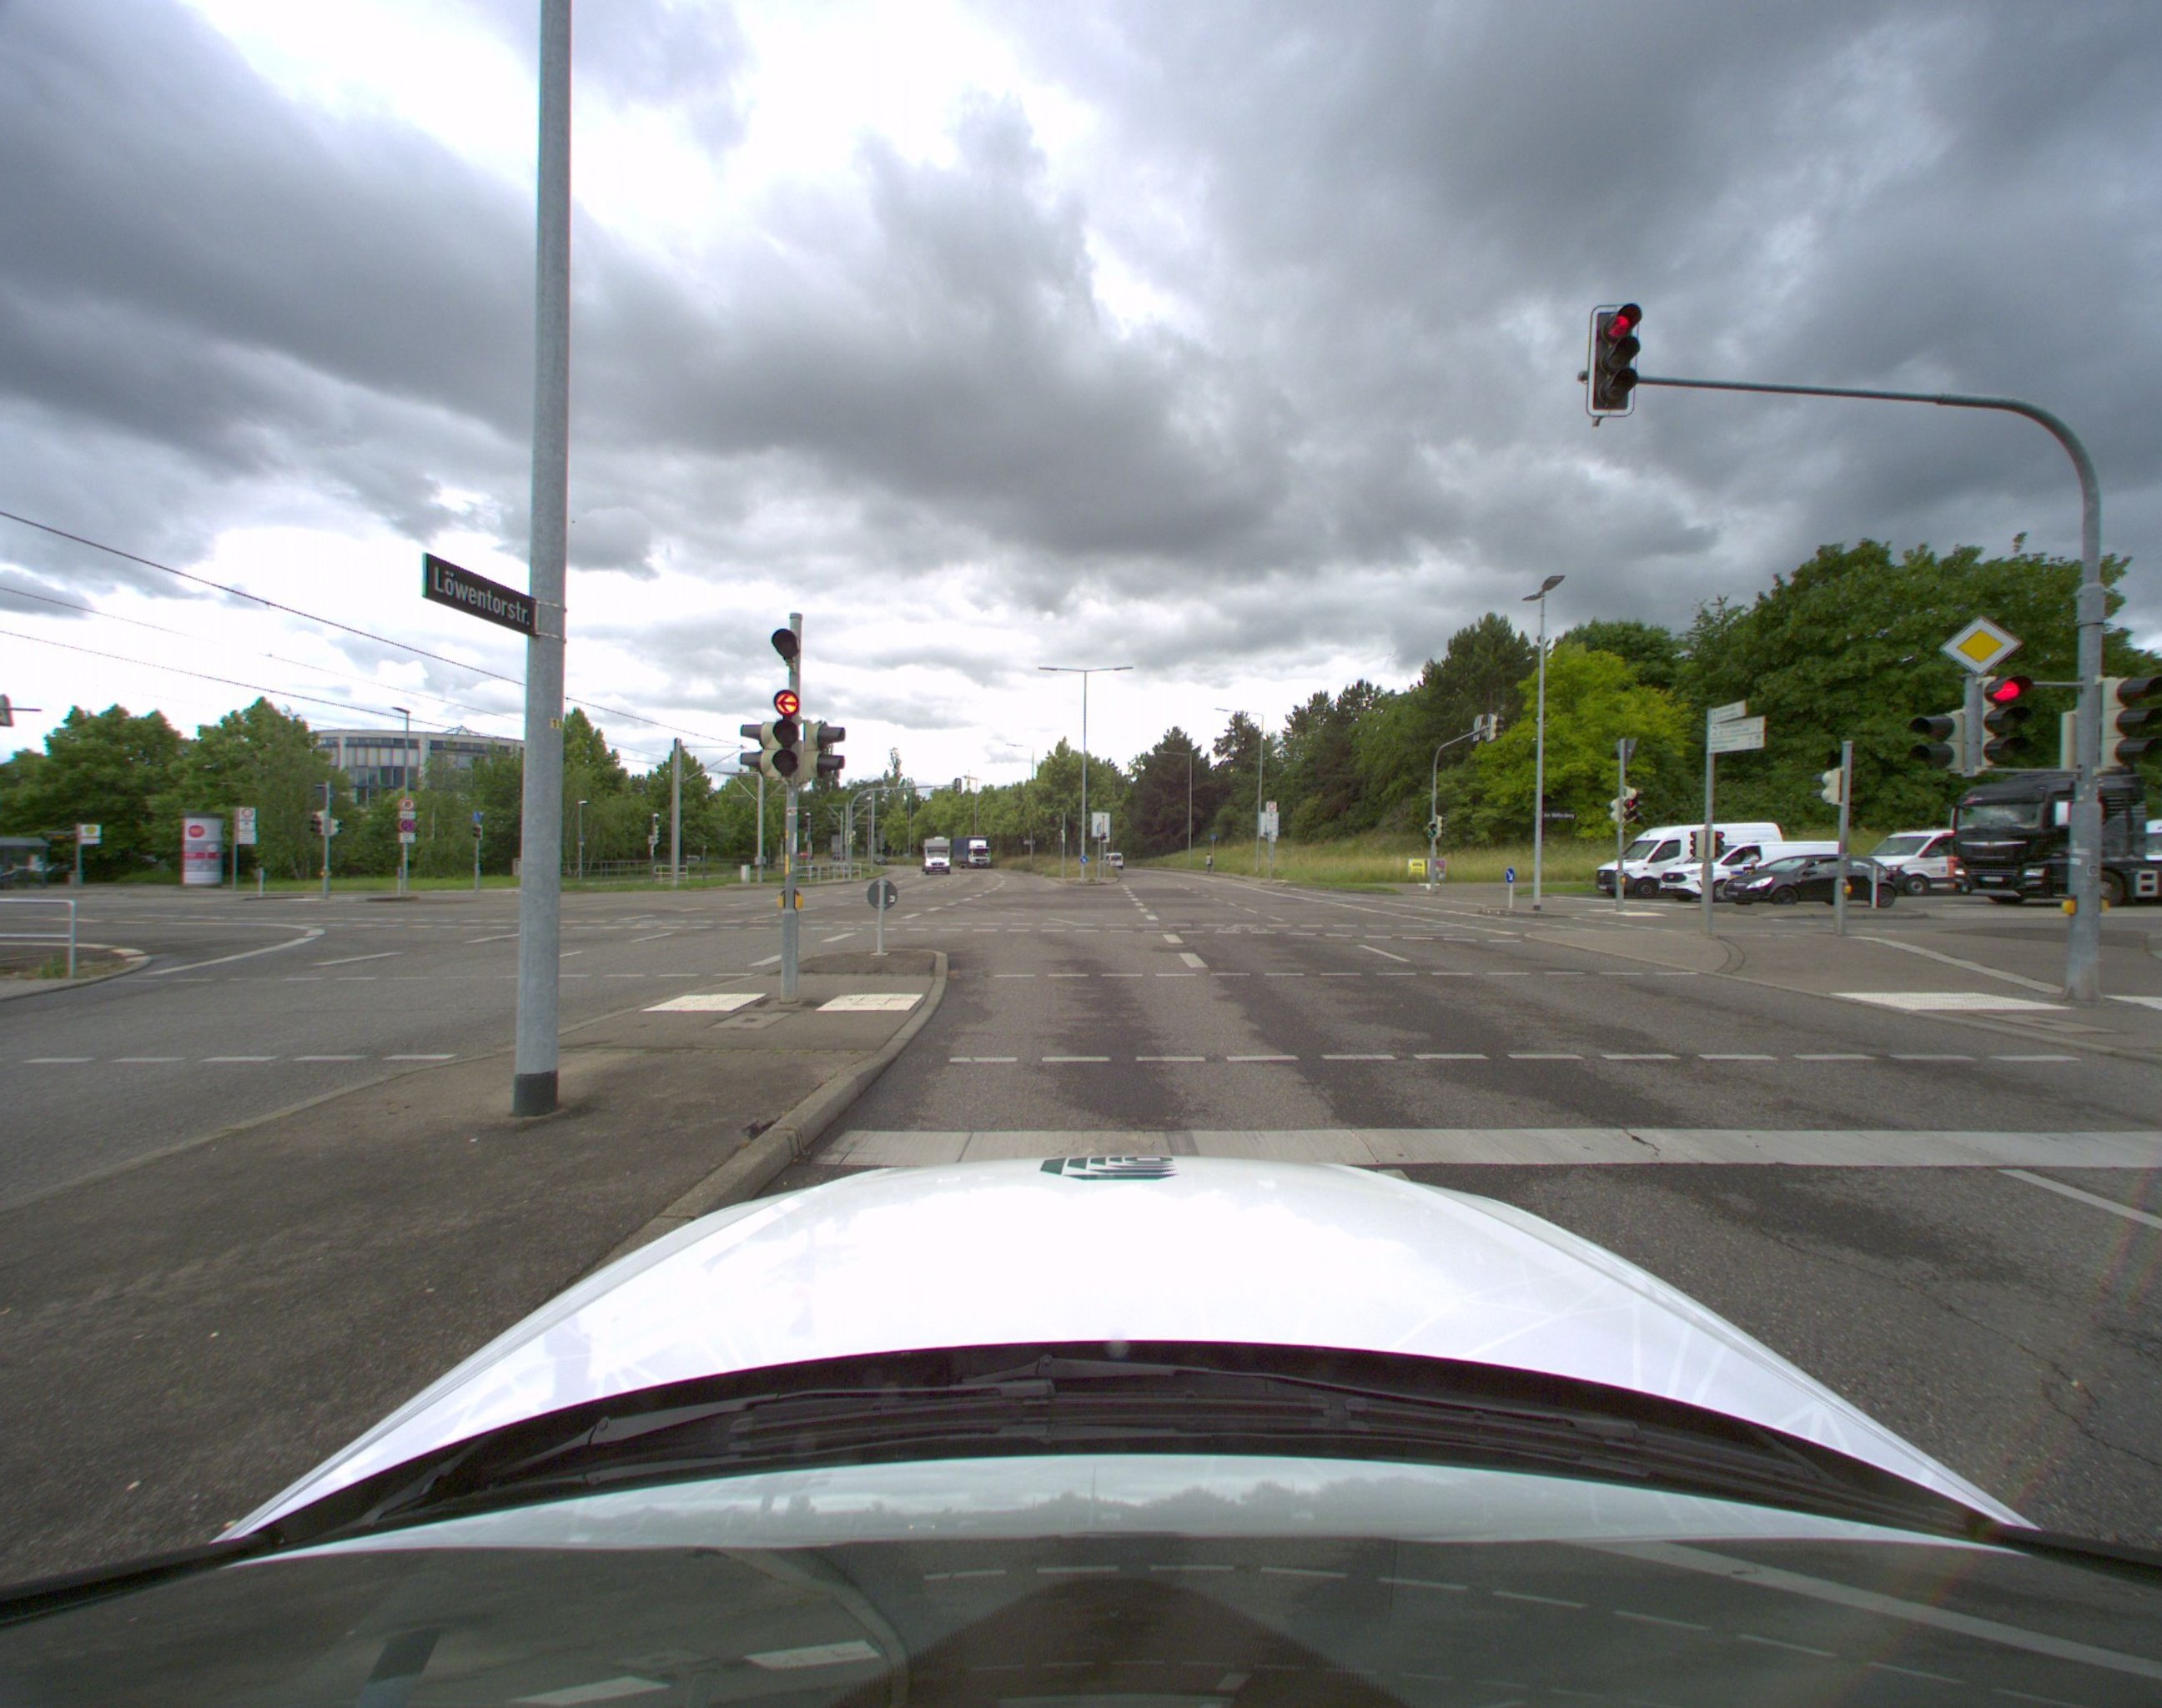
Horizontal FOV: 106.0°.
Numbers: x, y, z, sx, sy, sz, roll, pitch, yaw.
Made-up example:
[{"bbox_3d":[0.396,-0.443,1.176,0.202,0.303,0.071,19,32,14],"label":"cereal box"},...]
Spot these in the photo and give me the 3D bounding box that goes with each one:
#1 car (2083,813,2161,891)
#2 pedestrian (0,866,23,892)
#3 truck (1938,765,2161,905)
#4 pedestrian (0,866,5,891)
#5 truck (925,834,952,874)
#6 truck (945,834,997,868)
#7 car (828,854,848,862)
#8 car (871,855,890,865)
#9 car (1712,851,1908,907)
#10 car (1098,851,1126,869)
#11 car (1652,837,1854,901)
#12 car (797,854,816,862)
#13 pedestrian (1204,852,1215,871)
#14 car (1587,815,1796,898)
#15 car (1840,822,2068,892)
[{"bbox_3d":[39.727,-0.133,28.497,6.473,2.609,2.197,-1,0,2],"label":"car"},{"bbox_3d":[-56.561,1.312,42.967,0.774,1.304,0.666,0,0,15],"label":"pedestrian"},{"bbox_3d":[27.939,-0.518,22.277,6.027,3.538,2.729,-1,0,2],"label":"truck"},{"bbox_3d":[-57.830,1.298,43.213,0.774,1.303,0.666,0,0,15],"label":"pedestrian"},{"bbox_3d":[-11.883,0.002,67.633,2.116,3.135,5.878,0,-1,-11],"label":"truck"},{"bbox_3d":[-13.377,-0.256,97.502,3.061,3.760,12.717,0,-1,-22],"label":"truck"},{"bbox_3d":[-49.996,0.772,167.679,3.973,1.546,1.795,0,0,33],"label":"car"},{"bbox_3d":[-32.493,0.960,131.735,1.792,1.446,4.484,-2,2,-31],"label":"car"},{"bbox_3d":[20.284,0.667,22.779,3.906,1.436,1.732,-1,0,1],"label":"car"},{"bbox_3d":[3.334,0.679,89.546,1.995,1.802,4.820,-1,-1,-11],"label":"car"},{"bbox_3d":[21.596,0.455,26.336,4.836,1.896,2.034,-1,0,1],"label":"car"},{"bbox_3d":[-58.439,0.874,173.482,3.972,1.546,1.795,0,0,35],"label":"car"},{"bbox_3d":[10.794,0.610,68.532,0.811,1.627,0.791,0,0,1],"label":"pedestrian"},{"bbox_3d":[21.901,0.092,29.416,5.870,2.781,2.136,-1,0,2],"label":"car"},{"bbox_3d":[30.686,0.106,28.771,5.677,2.289,2.136,-1,0,2],"label":"car"}]
